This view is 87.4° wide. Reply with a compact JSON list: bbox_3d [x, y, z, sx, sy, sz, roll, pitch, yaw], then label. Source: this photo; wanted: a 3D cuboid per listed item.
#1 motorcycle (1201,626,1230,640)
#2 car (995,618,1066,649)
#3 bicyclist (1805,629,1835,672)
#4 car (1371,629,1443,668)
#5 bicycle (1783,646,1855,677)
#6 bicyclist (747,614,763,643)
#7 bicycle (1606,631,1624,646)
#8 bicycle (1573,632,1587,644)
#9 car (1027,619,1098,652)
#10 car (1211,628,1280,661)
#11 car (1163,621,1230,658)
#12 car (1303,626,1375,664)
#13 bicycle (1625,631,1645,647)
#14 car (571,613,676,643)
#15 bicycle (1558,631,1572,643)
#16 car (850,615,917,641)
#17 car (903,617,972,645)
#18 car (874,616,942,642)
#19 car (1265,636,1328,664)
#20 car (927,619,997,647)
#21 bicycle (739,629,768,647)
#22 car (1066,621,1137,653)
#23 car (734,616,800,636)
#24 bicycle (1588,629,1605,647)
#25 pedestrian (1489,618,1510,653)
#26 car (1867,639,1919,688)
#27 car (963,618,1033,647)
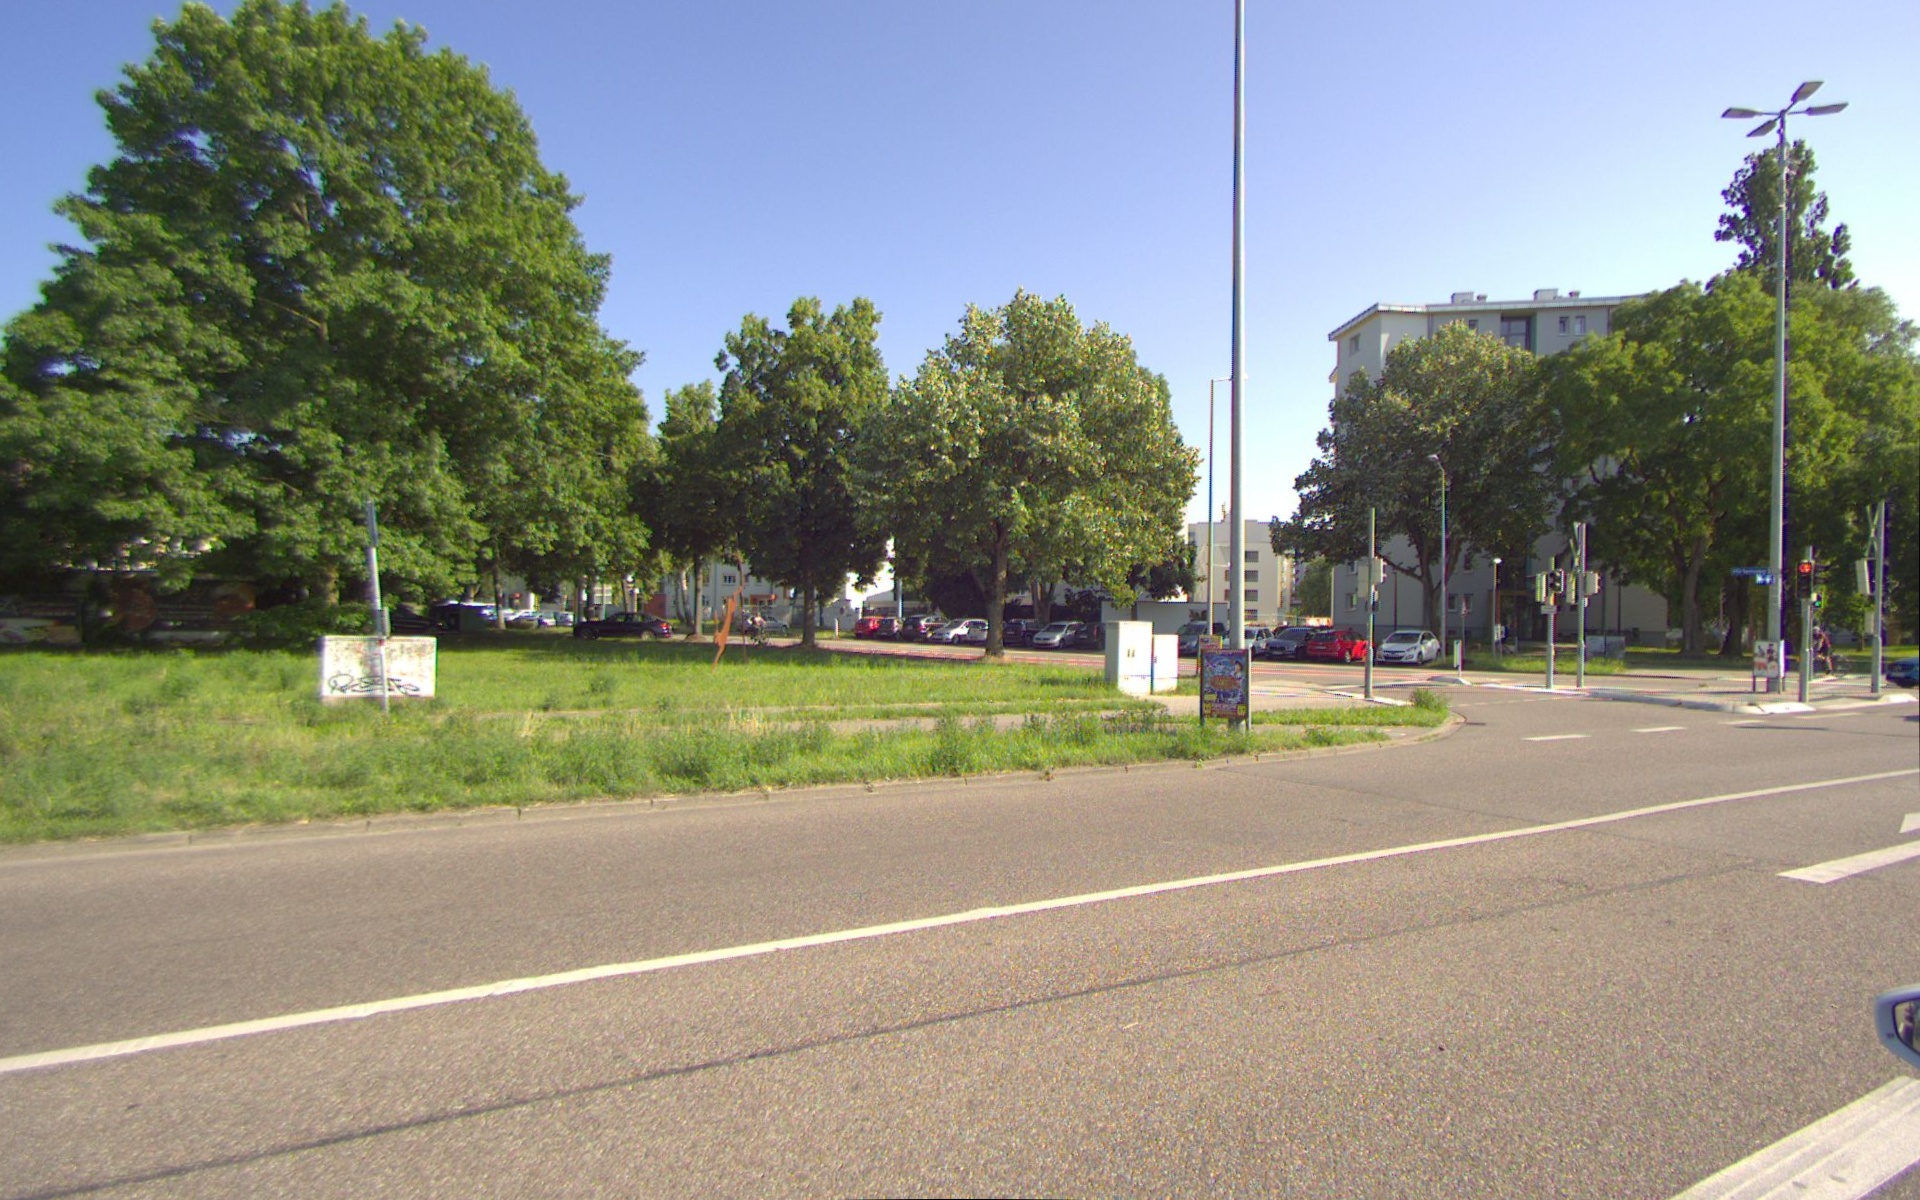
[{"bbox_3d":[18.580,2.402,73.008,2.003,0.977,0.527,1,0,4],"label":"motorcycle"},{"bbox_3d":[4.256,1.958,59.696,1.758,1.497,4.791,0,3,39],"label":"car"},{"bbox_3d":[31.966,1.871,37.335,0.590,1.581,0.609,1,-1,5],"label":"bicyclist"},{"bbox_3d":[20.079,2.136,45.058,1.760,1.459,3.977,0,2,43],"label":"car"},{"bbox_3d":[31.921,2.284,37.345,2.030,1.054,0.622,1,-1,5],"label":"bicycle"},{"bbox_3d":[-11.084,1.541,54.263,0.618,1.544,0.615,1,1,40],"label":"bicyclist"},{"bbox_3d":[41.372,2.446,63.464,0.663,0.887,2.483,1,-1,25],"label":"bicycle"},{"bbox_3d":[39.700,2.434,64.314,0.497,0.718,2.114,1,0,25],"label":"bicycle"},{"bbox_3d":[5.916,2.000,57.620,1.758,1.497,4.692,0,2,39],"label":"car"},{"bbox_3d":[14.351,2.199,50.379,1.759,1.541,3.979,0,-1,41],"label":"car"},{"bbox_3d":[12.329,2.023,52.216,1.759,1.835,3.979,0,-1,41],"label":"car"},{"bbox_3d":[17.815,2.095,47.165,1.761,1.435,3.975,0,3,44],"label":"car"},{"bbox_3d":[42.321,2.456,62.991,0.658,0.932,2.404,1,-1,25],"label":"bicycle"},{"bbox_3d":[-16.601,1.382,49.743,4.682,1.338,1.524,1,-1,-8],"label":"car"},{"bbox_3d":[39.009,2.407,64.762,0.574,0.718,2.236,1,0,25],"label":"bicycle"},{"bbox_3d":[-5.161,1.893,68.155,1.758,1.497,4.791,0,2,39],"label":"car"},{"bbox_3d":[-1.416,1.964,64.436,1.758,1.497,4.791,0,2,39],"label":"car"},{"bbox_3d":[-3.397,1.904,66.688,1.758,1.497,4.791,0,2,39],"label":"car"},{"bbox_3d":[16.287,2.387,48.493,1.445,1.209,3.765,0,-1,43],"label":"car"},{"bbox_3d":[0.157,2.015,62.512,1.758,1.497,4.791,0,2,39],"label":"car"},{"bbox_3d":[-11.152,2.062,54.238,1.784,0.915,0.650,1,-1,44],"label":"bicycle"},{"bbox_3d":[8.072,2.063,56.967,1.758,1.497,4.791,0,2,39],"label":"car"},{"bbox_3d":[-14.556,1.987,76.123,1.760,1.497,4.786,0,-1,43],"label":"car"},{"bbox_3d":[40.403,2.404,63.725,0.601,1.080,1.916,2,-2,24],"label":"bicycle"},{"bbox_3d":[27.235,1.775,50.677,0.693,1.736,0.623,1,0,-18],"label":"pedestrian"},{"bbox_3d":[30.867,1.968,30.930,4.159,1.433,1.786,1,-1,3],"label":"car"},{"bbox_3d":[2.355,1.976,61.271,1.758,1.497,4.755,0,2,39],"label":"car"}]
